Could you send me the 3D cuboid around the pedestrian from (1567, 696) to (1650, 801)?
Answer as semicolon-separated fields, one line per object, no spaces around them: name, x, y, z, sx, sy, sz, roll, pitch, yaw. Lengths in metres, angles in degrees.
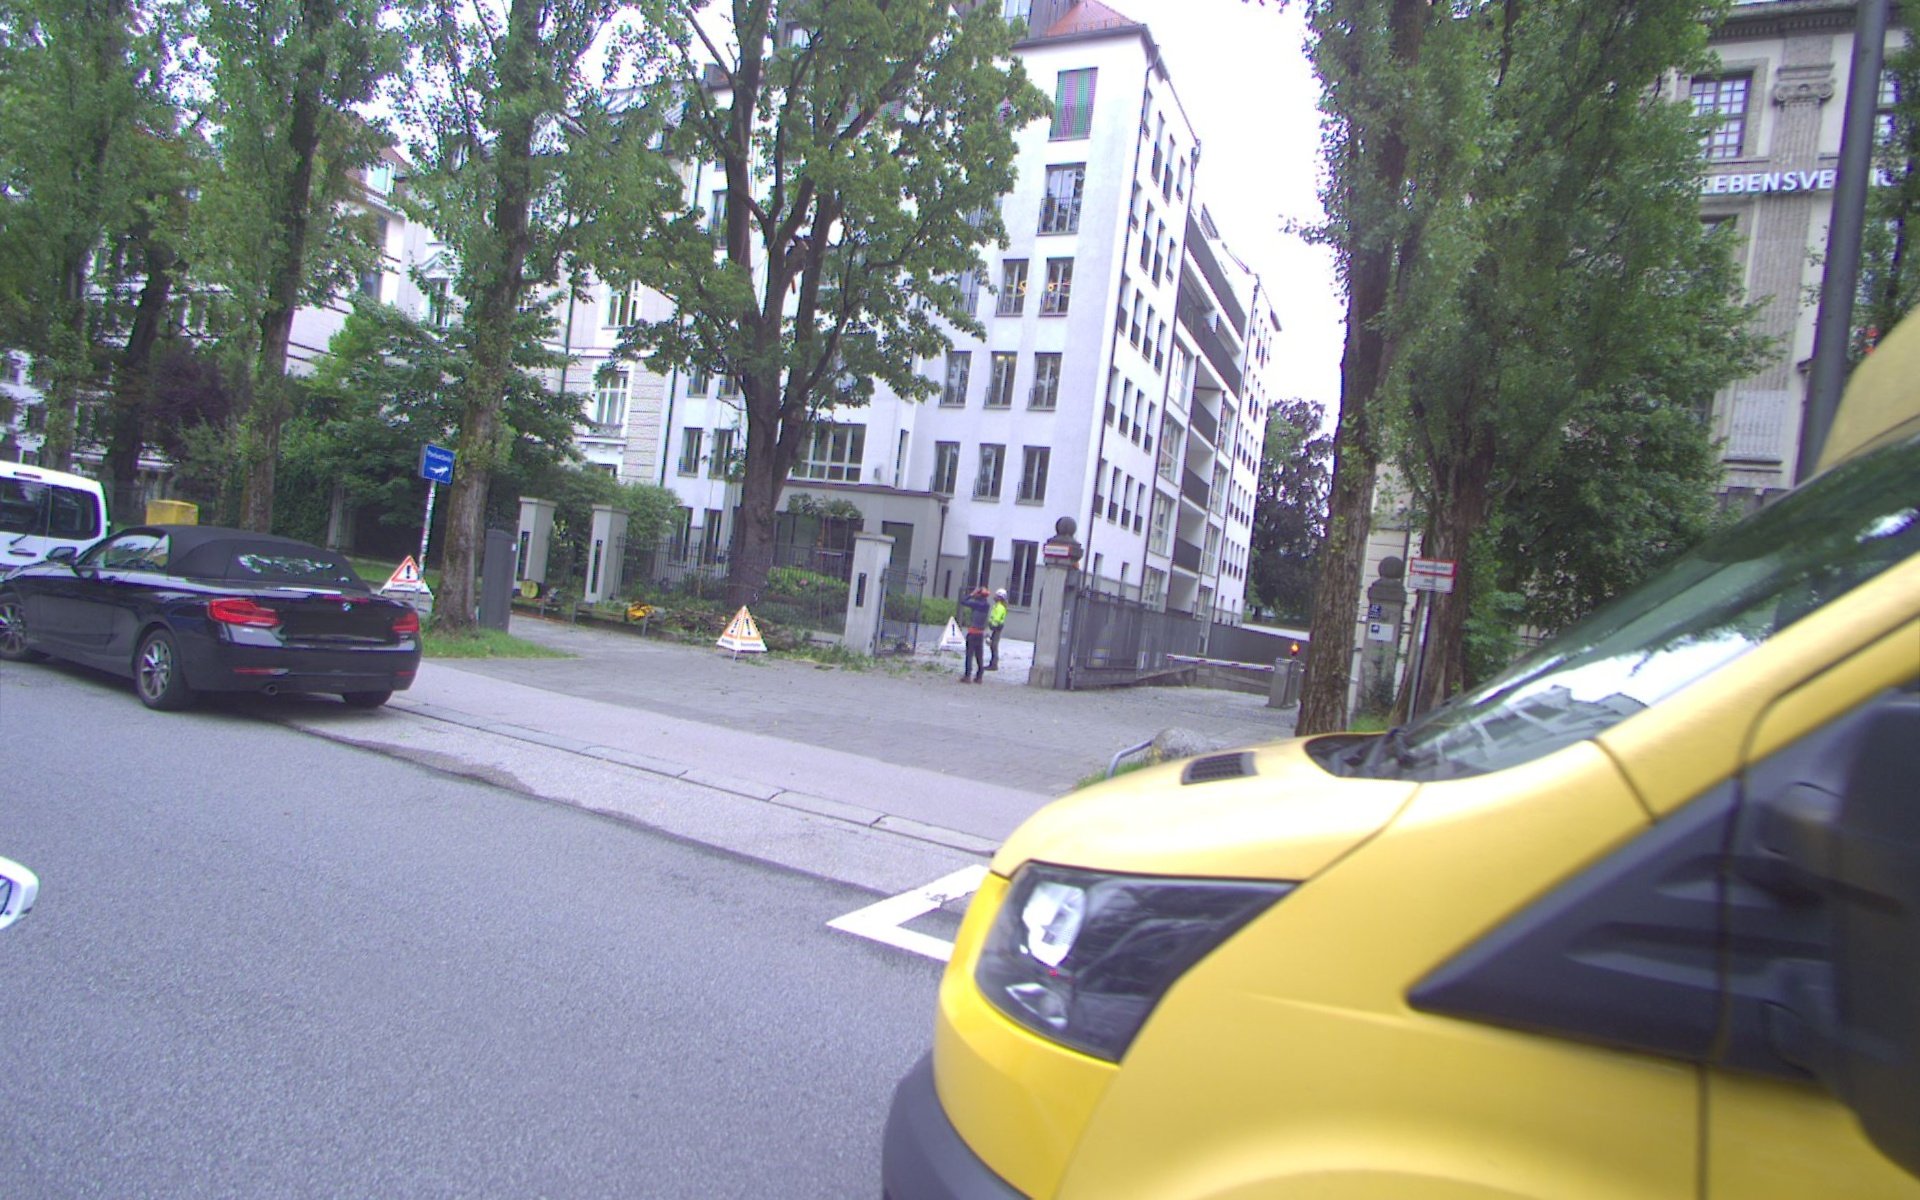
pedestrian;8.095;1.833;12.585;0.714;1.156;0.702;8;1;31

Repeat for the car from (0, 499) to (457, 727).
car;-6.552;0.058;8.800;3.930;1.370;1.751;7;0;27

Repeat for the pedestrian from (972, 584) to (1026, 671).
pedestrian;0.906;0.643;23.240;0.819;1.877;0.773;7;1;20

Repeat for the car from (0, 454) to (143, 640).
car;-11.417;-0.768;11.160;4.154;1.794;1.840;7;-2;24

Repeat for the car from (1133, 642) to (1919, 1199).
car;3.053;1.216;3.899;4.247;1.514;1.729;7;0;26

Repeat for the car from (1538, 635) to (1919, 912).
car;8.436;1.654;9.068;5.228;1.949;1.999;7;0;25

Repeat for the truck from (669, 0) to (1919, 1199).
truck;3.426;0.470;0.909;7.201;2.934;2.334;7;0;25

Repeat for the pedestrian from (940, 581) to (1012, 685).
pedestrian;0.307;0.650;19.640;0.931;1.889;0.766;6;1;-36
